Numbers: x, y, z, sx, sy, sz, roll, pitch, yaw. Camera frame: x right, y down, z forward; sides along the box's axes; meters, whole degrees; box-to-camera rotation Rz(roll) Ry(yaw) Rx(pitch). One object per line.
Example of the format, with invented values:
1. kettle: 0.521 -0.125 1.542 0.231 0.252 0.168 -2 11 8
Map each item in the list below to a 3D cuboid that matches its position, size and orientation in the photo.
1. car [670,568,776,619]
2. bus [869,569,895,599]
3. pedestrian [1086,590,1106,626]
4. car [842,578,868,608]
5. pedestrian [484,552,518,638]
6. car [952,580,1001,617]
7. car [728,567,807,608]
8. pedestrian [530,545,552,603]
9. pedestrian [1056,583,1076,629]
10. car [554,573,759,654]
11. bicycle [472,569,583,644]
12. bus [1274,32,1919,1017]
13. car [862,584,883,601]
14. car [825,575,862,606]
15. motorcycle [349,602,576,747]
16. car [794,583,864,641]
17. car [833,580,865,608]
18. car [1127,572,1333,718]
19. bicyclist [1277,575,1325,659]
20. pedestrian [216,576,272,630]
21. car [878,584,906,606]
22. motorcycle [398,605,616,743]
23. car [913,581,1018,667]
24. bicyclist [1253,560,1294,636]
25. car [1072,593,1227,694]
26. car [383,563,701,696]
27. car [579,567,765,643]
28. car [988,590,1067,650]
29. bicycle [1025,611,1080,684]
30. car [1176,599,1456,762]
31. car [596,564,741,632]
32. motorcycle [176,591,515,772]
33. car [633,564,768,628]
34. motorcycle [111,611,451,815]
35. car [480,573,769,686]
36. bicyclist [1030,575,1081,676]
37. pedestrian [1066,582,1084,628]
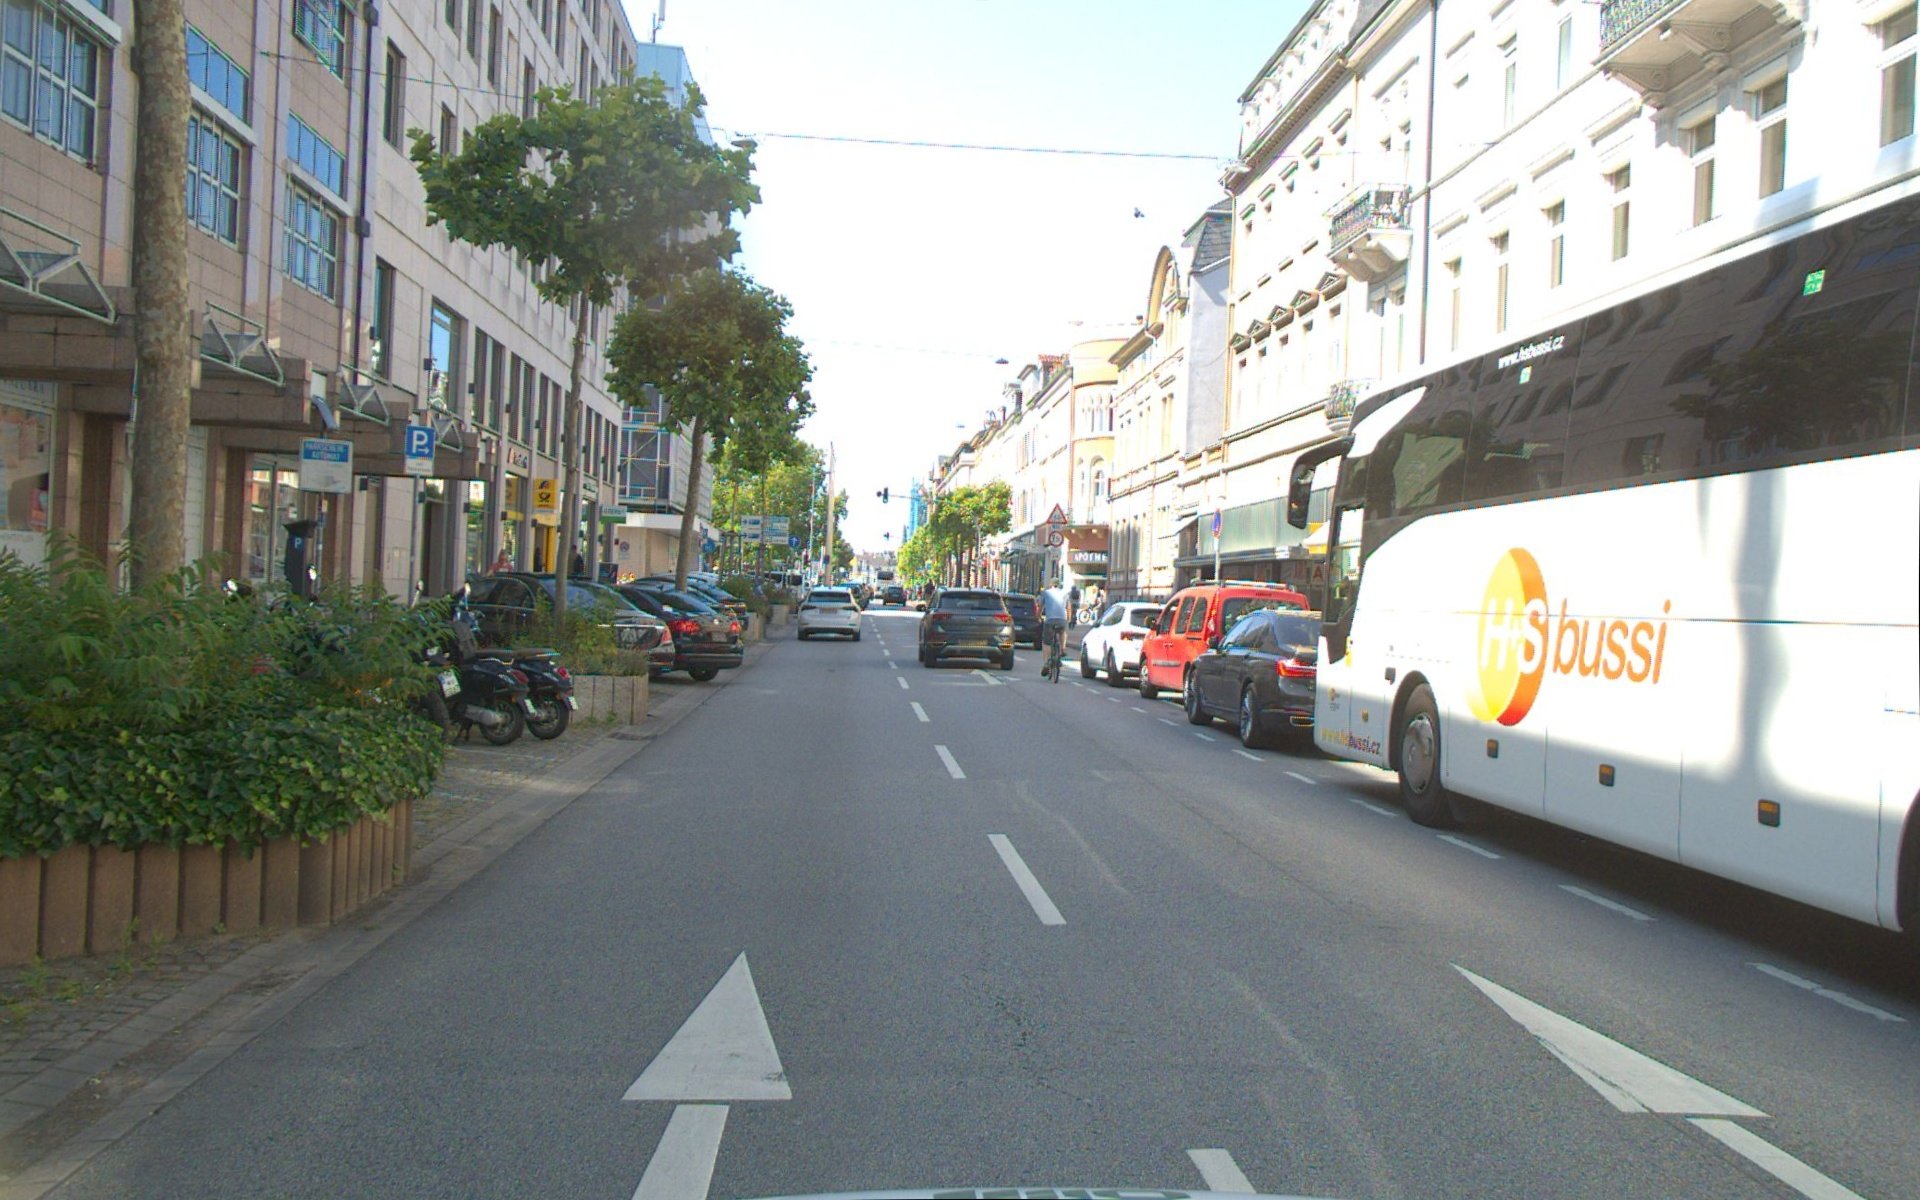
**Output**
1. car: -9.230 -0.250 64.633 3.912 1.526 1.715 6 0 -6
2. bus: -10.132 -2.081 214.113 2.717 3.668 8.961 2 0 -7
3. pedestrian: 6.696 0.382 81.526 0.776 1.750 0.728 1 0 -9
4. car: -7.781 -0.518 122.231 1.826 2.065 3.996 2 -1 -5
5. pedestrian: -9.212 -0.107 33.192 0.555 1.686 0.635 2 0 -10
6. car: 0.659 -0.072 68.851 1.785 1.409 3.998 2 1 -3
7. car: -11.808 -0.792 101.388 4.633 2.038 1.934 6 -1 37
8. pedestrian: -15.019 -0.945 59.280 0.611 2.049 0.700 1 0 -3
9. pedestrian: 4.494 0.261 70.321 0.694 1.932 1.152 2 0 0
10. car: -6.705 0.278 36.317 4.566 1.432 1.897 5 1 40
11. bicycle: -8.605 0.133 32.975 2.028 1.311 0.366 5 -1 -12
12. bus: 4.883 -0.261 8.962 2.826 3.806 12.414 4 0 -5
13. car: -8.367 -0.661 157.905 1.826 1.466 3.996 1 -2 -4
14. car: -5.716 -0.473 80.974 1.709 1.466 3.997 2 0 -4
15. motorcycle: -4.590 0.666 15.282 1.870 1.190 0.729 3 0 17
16. car: -3.709 0.314 46.596 1.827 1.466 3.996 3 0 -5
17. car: -6.218 -0.333 92.547 1.709 1.466 3.997 2 0 -4
18. car: 3.927 0.582 24.842 1.793 1.896 4.347 4 0 -7
19. bicyclist: 6.247 0.303 30.367 0.612 1.502 0.889 2 0 -4
20. pedestrian: -11.972 0.052 27.670 0.555 0.822 0.774 7 0 -4
21. car: -4.939 -0.377 119.854 1.826 1.466 3.997 2 0 -4
22. motorcycle: -4.381 0.690 16.004 1.870 1.190 0.761 3 0 17
23. car: 0.056 0.447 33.287 1.797 1.554 3.997 2 0 -4
24. bicyclist: 6.841 -0.050 36.093 0.644 1.623 0.920 2 0 -2
25. car: 3.360 0.725 30.270 1.778 1.491 4.575 4 1 -6
26. car: -6.063 0.377 23.749 4.668 1.560 1.981 4 1 39
27. car: -7.239 0.117 41.539 4.258 1.539 1.831 5 1 27
28. car: 1.863 0.547 46.593 1.786 1.433 3.184 4 1 -4
29. bicycle: 1.611 0.814 29.101 0.651 1.139 2.242 4 1 -3
30. car: 3.940 0.808 19.295 1.822 1.495 5.222 4 0 -3
31. car: -8.397 -0.066 47.948 3.914 1.526 1.714 6 0 -8
32. motorcycle: -5.098 0.632 13.800 2.296 1.290 1.294 3 1 17
33. car: -8.527 -0.136 54.343 3.908 1.595 1.700 7 0 21
34. motorcycle: -4.690 0.729 11.414 2.129 1.190 0.920 3 1 24
35. car: -5.488 0.435 26.750 4.704 1.447 1.875 4 1 37
36. bicyclist: 1.669 0.437 29.120 0.681 1.702 0.915 4 1 -3
37. pedestrian: 4.669 0.210 67.224 0.638 1.841 0.729 2 0 -1
